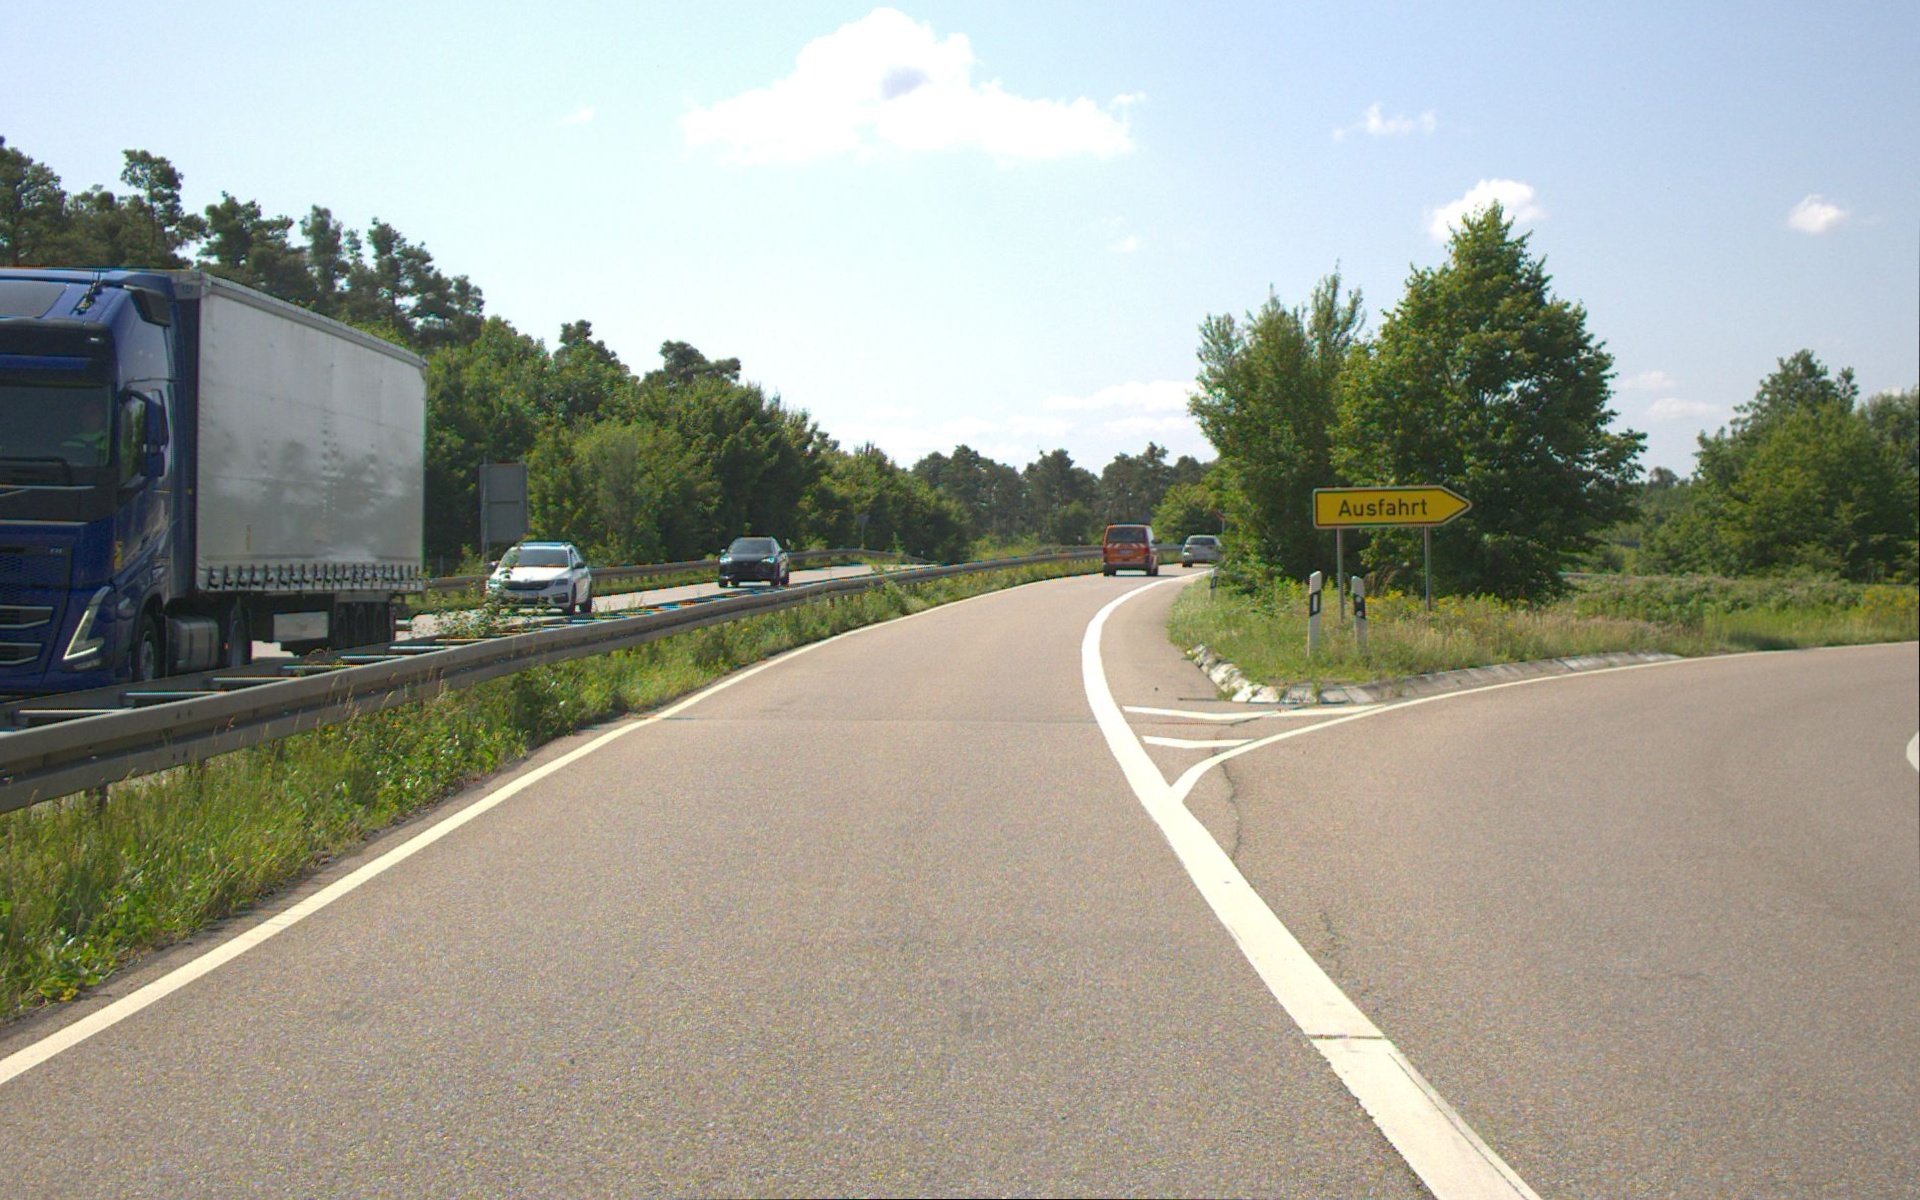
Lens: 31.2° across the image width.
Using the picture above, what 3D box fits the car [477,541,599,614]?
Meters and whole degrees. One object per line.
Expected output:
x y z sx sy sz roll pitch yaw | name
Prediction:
-8.722 -0.494 71.380 1.794 1.439 4.606 0 1 2 | car

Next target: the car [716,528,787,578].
-6.420 -1.466 106.161 1.755 1.495 4.574 1 1 2 | car

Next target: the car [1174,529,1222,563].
10.919 -2.472 157.468 2.008 1.488 4.237 1 0 7 | car

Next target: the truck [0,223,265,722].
-8.359 -1.116 31.627 2.767 4.173 5.598 0 1 0 | truck

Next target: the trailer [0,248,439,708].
-8.334 -1.222 38.418 2.745 4.158 14.584 0 1 0 | trailer

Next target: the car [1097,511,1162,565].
6.511 -2.360 131.569 2.078 1.986 5.110 1 0 7 | car

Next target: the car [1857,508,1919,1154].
3.361 0.638 7.172 1.894 1.660 4.666 1 1 2 | car
